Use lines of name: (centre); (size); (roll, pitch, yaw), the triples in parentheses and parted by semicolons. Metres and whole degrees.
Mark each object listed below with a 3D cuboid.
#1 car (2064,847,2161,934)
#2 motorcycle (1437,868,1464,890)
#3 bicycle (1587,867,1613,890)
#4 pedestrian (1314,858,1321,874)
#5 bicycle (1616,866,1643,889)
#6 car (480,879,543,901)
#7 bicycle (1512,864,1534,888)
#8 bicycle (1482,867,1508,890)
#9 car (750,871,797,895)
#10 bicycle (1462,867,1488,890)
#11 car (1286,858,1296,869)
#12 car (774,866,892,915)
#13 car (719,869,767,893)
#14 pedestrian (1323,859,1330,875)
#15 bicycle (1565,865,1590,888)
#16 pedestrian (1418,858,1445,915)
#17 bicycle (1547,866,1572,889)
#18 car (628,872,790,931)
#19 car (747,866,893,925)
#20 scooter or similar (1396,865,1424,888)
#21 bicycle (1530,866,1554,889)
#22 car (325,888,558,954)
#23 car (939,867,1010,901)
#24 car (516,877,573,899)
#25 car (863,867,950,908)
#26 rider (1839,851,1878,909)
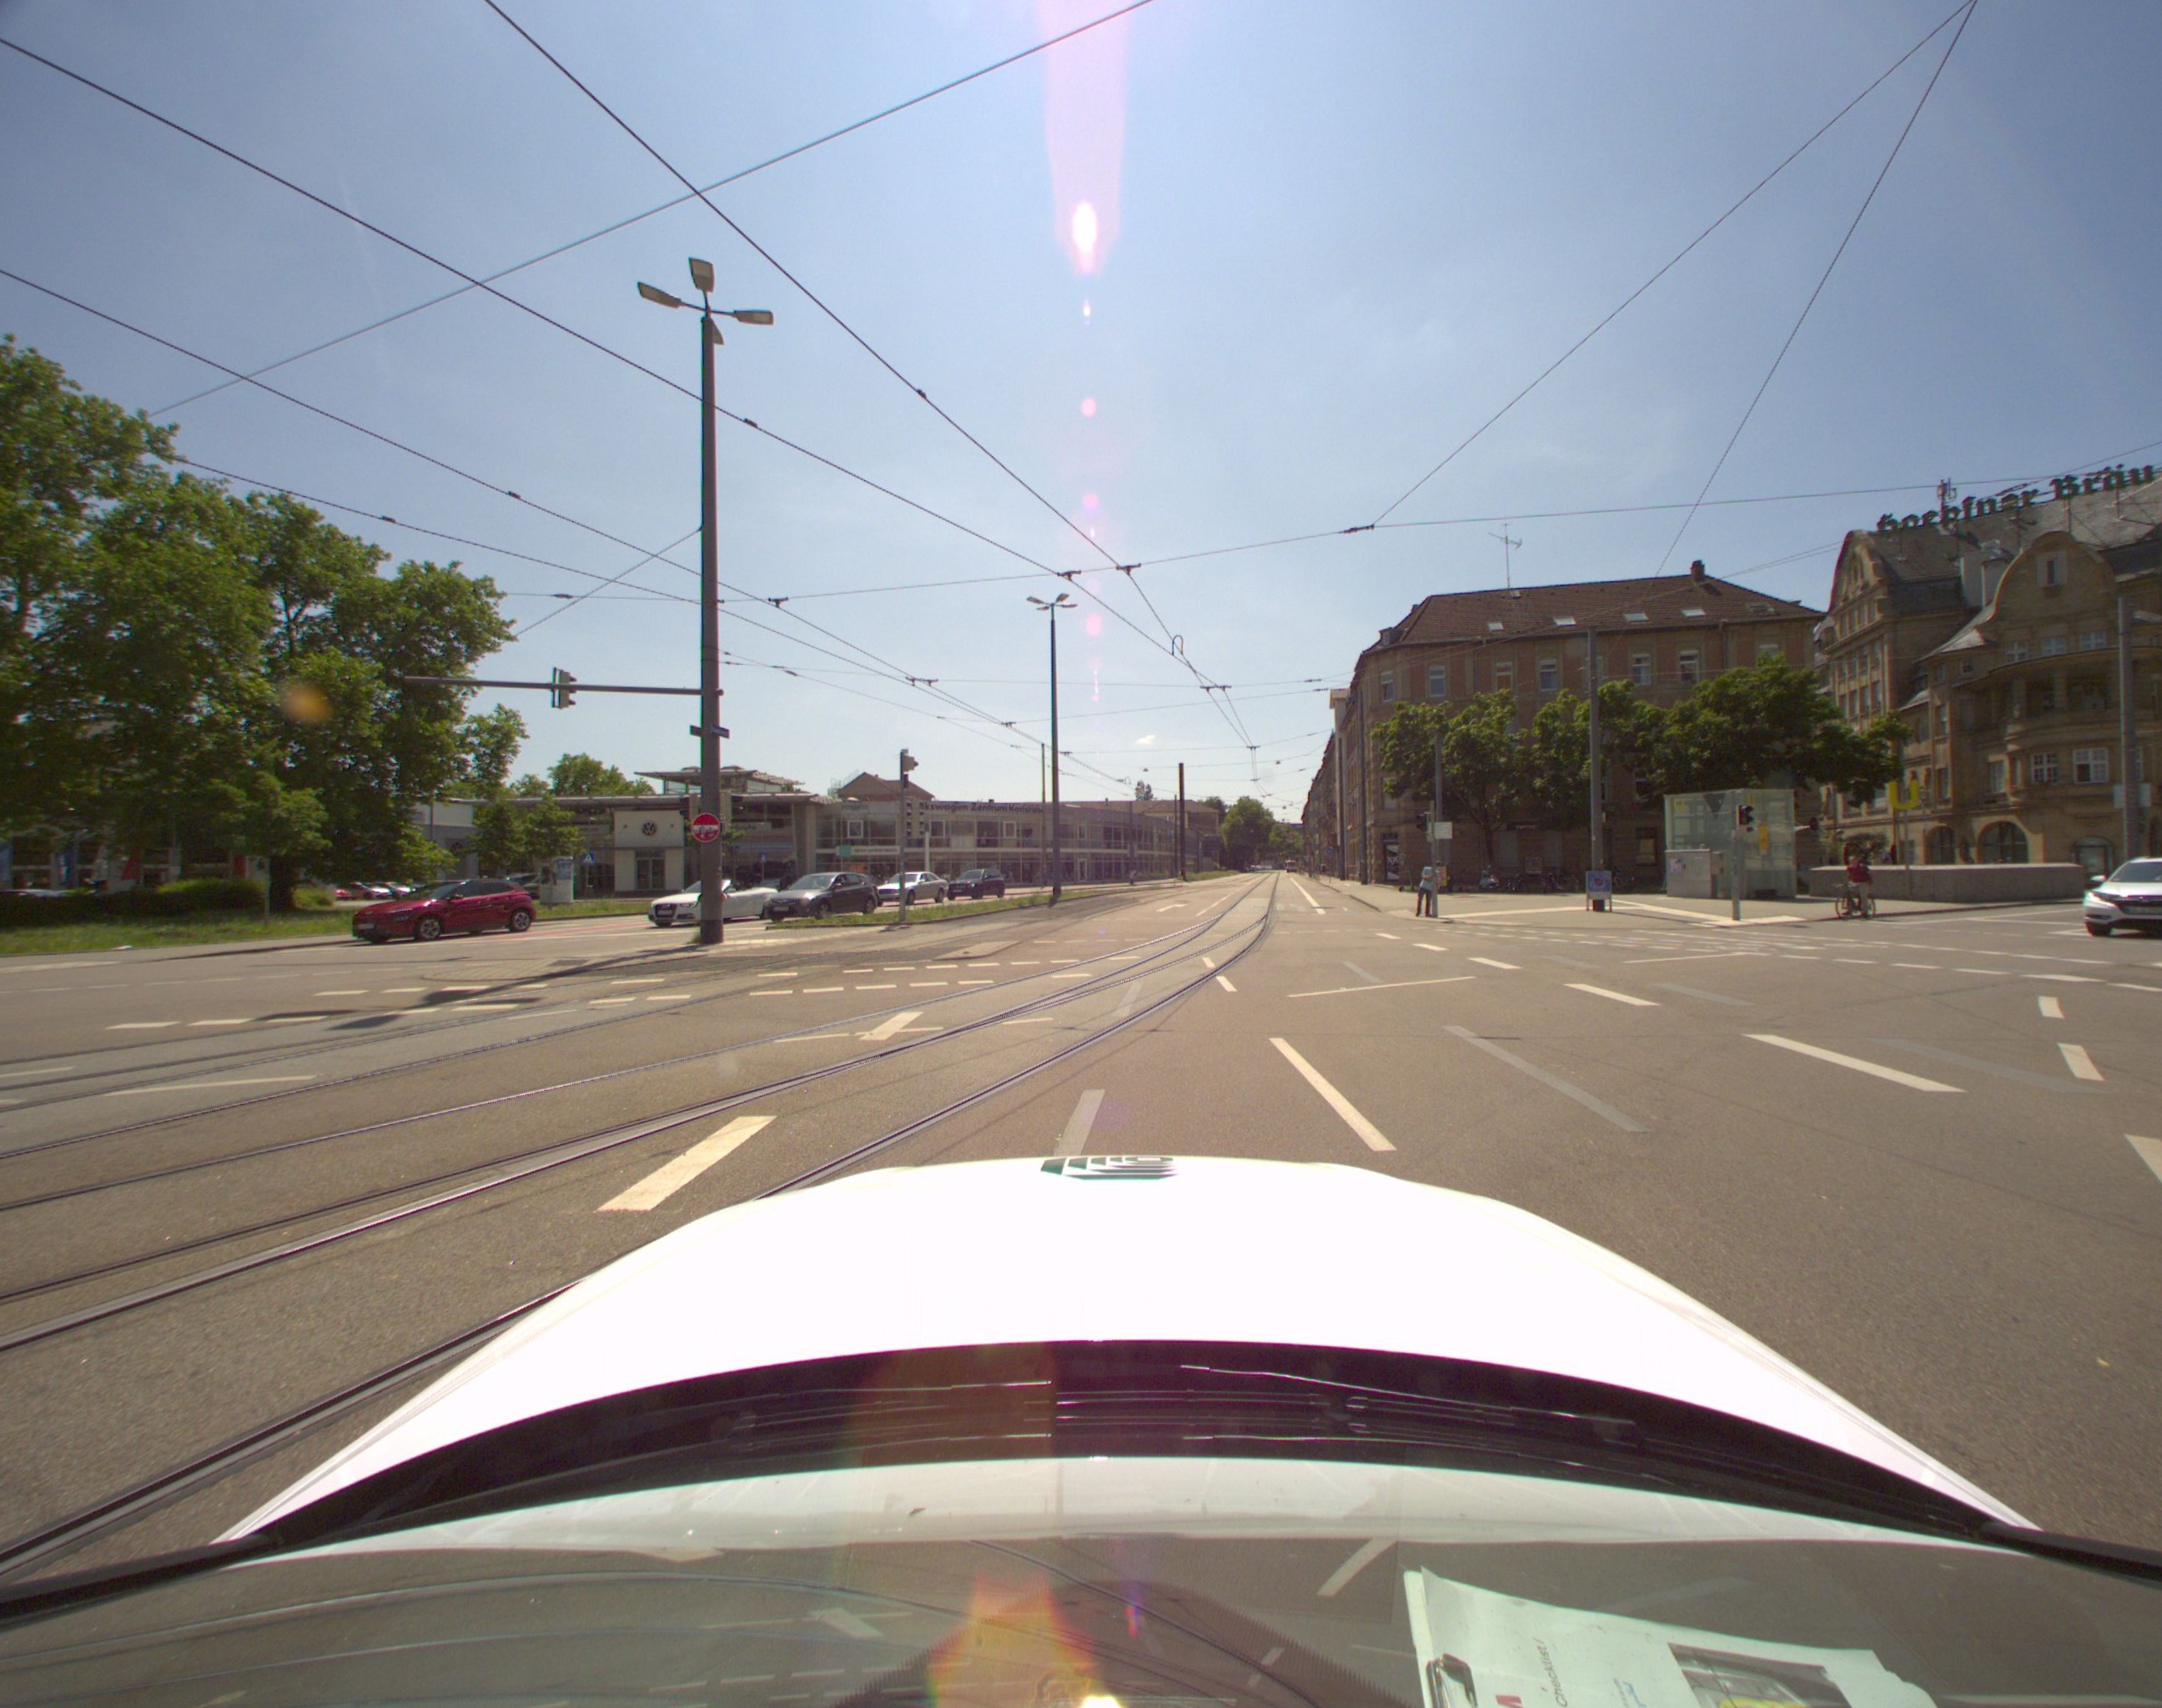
car: (21.735, 0.663, 16.269); (4.200, 1.605, 1.680); (-1, -1, -25)
motorcycle: (18.643, 1.259, 41.117); (0.577, 1.074, 1.947); (-1, -1, 3)
bicycle: (26.004, 1.216, 40.842); (0.547, 1.120, 1.937); (-1, -1, 15)
pedestrian: (29.591, 1.482, 102.035); (0.763, 2.014, 0.666); (0, -2, 11)
bicycle: (27.364, 1.164, 40.644); (0.547, 1.120, 1.827); (-1, -1, 15)
car: (-43.194, 2.706, 61.894); (1.761, 1.510, 4.325); (-1, -1, 0)
bicycle: (22.072, 1.086, 40.694); (0.547, 1.120, 1.827); (-1, -1, 15)
bicycle: (20.879, 1.251, 41.105); (0.440, 1.146, 2.097); (1, -2, 6)
car: (-22.953, 2.189, 60.966); (1.915, 1.707, 3.998); (1, -2, 0)
bicycle: (19.820, 1.214, 41.000); (0.548, 1.120, 1.823); (-1, -1, 5)
car: (43.569, 1.968, 168.969); (1.979, 2.181, 4.385); (0, -2, 14)
car: (-9.458, 1.350, 31.540); (1.978, 1.700, 4.866); (-1, -1, 16)
car: (-25.193, 2.023, 60.824); (1.915, 1.707, 3.998); (1, -2, 0)
pedestrian: (30.679, 1.587, 101.852); (0.763, 2.014, 0.666); (0, -2, 11)
bicycle: (24.873, 1.138, 40.843); (0.547, 1.120, 1.878); (-1, -1, 15)
pedestrian: (10.737, 0.990, 24.939); (0.460, 1.708, 0.638); (-1, -1, -8)
bicycle: (23.664, 1.162, 40.320); (0.547, 1.120, 1.897); (-1, -1, 15)
car: (-11.375, 1.414, 25.363); (2.062, 1.580, 4.862); (-1, -1, 12)
car: (-8.070, 1.251, 25.753); (1.978, 1.637, 4.866); (-1, -1, 16)
scooter or similar: (17.643, 1.198, 43.701); (1.801, 1.181, 0.592); (0, -1, -41)
bicycle: (22.881, 1.157, 40.455); (0.547, 1.120, 1.827); (-1, -1, 15)
car: (-17.300, 1.749, 22.409); (1.980, 1.465, 4.862); (-1, -1, 12)
car: (-5.724, 1.604, 44.437); (2.063, 1.683, 4.866); (-1, -1, 16)
car: (-40.550, 2.549, 61.656); (1.764, 1.510, 4.318); (-1, -1, -6)
car: (-7.961, 1.488, 37.680); (1.978, 1.739, 4.562); (-1, -1, 16)
rider: (21.858, 0.728, 22.887); (0.878, 1.601, 0.558); (0, -1, -33)
